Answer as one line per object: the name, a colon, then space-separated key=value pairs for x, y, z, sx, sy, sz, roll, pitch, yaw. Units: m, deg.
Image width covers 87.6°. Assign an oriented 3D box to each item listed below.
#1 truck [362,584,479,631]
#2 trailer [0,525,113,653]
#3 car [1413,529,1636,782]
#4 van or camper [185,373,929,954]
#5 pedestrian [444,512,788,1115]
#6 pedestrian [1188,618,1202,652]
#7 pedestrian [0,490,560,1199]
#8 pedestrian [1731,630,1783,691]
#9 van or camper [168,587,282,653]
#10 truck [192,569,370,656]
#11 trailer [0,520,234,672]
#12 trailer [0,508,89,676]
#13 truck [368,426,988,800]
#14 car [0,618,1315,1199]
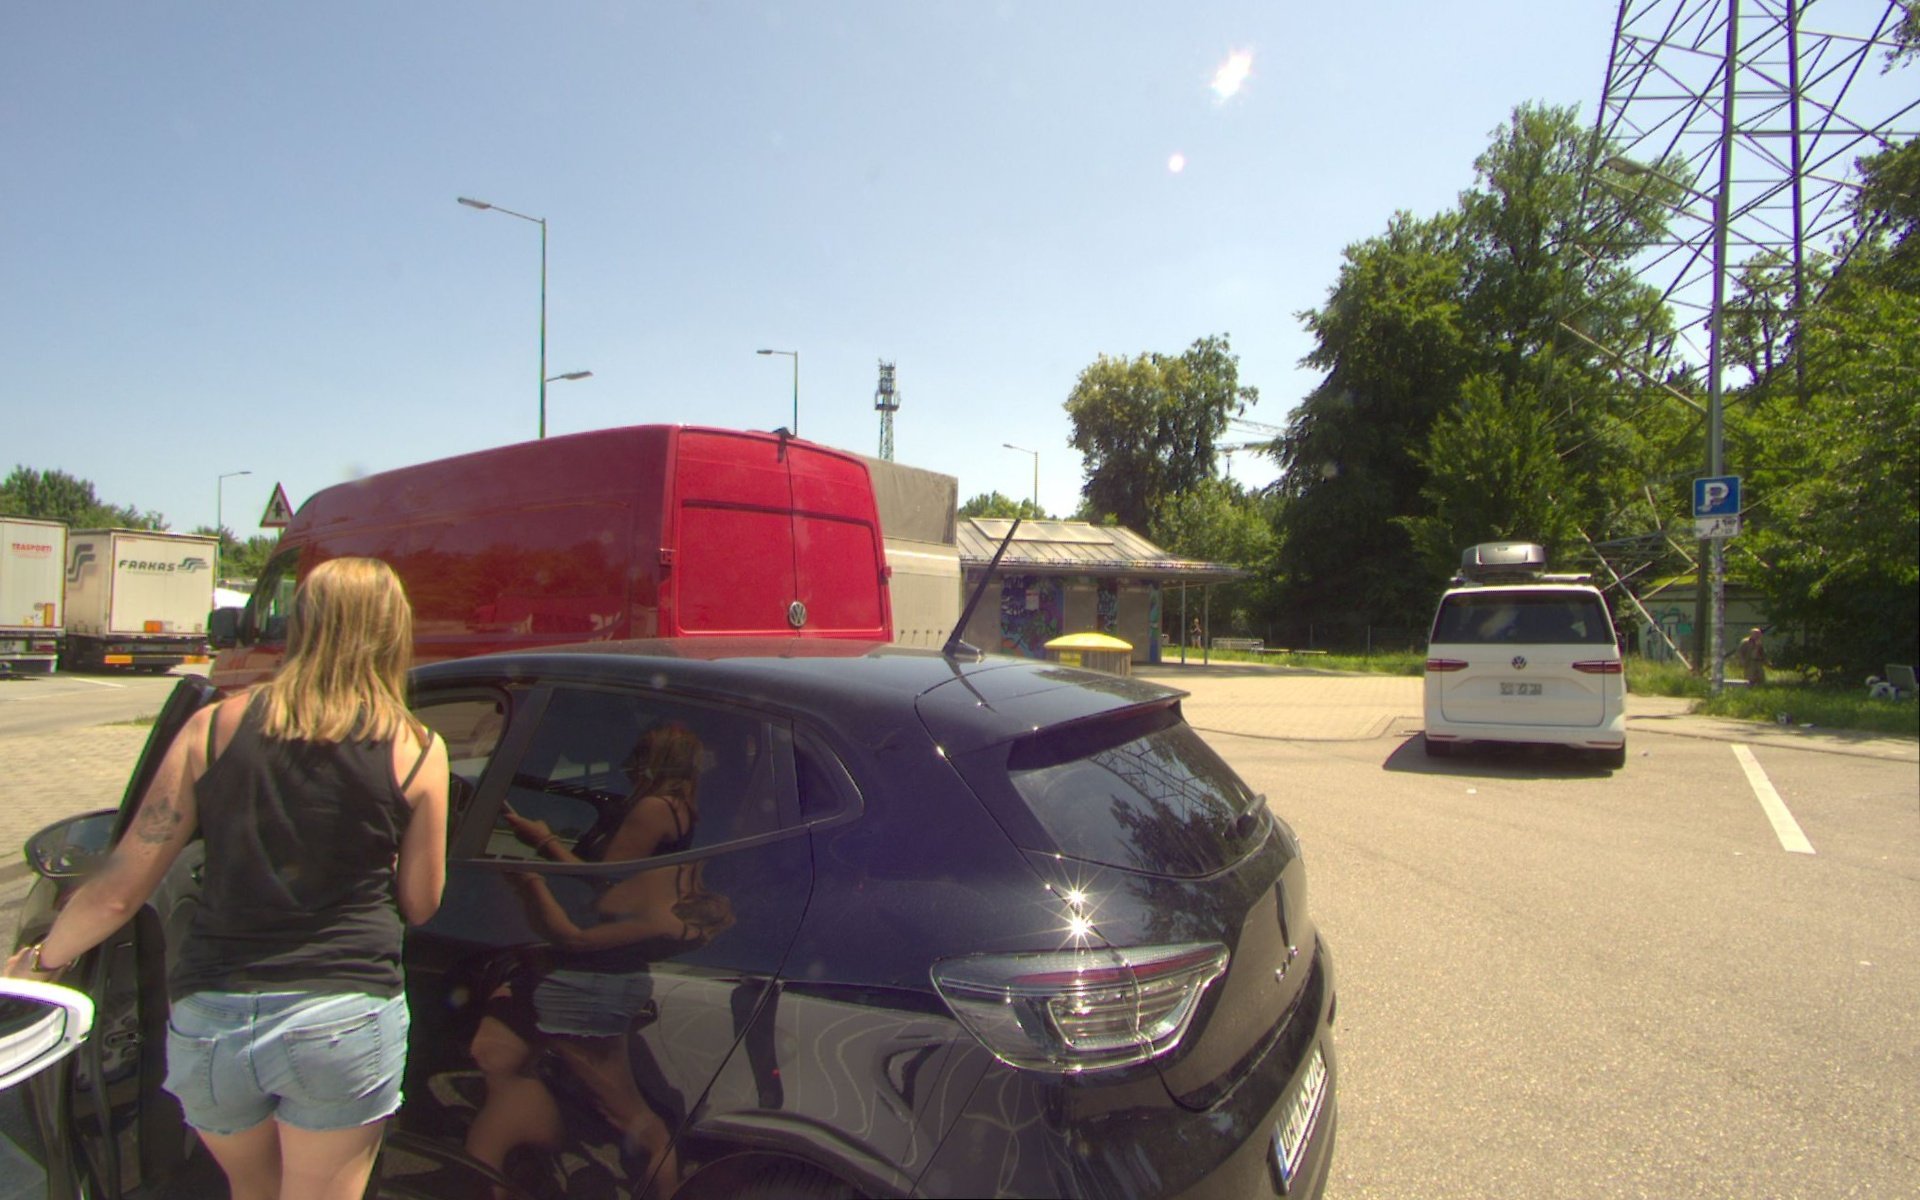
truck: x=-34.720 y=0.451 z=64.270 sx=9.637 sy=2.857 sz=2.121 roll=0 pitch=-1 yaw=33
trailer: x=-32.614 y=-0.366 z=34.880 sx=6.474 sy=4.090 sz=2.862 roll=2 pitch=-1 yaw=33
car: x=6.545 y=0.562 z=11.553 sx=1.892 sy=2.354 sz=4.074 roll=-1 pitch=-1 yaw=32
van or camper: x=-3.360 y=0.319 z=7.346 sx=6.394 sy=2.688 sz=1.990 roll=0 pitch=-1 yaw=36
pedestrian: x=-1.246 y=0.678 z=3.699 sx=0.902 sy=1.896 sz=0.771 roll=1 pitch=0 yaw=26
pedestrian: x=10.751 y=1.603 z=45.832 sx=0.582 sy=1.536 sz=0.588 roll=1 pitch=0 yaw=13
pedestrian: x=-1.130 y=0.664 z=1.683 sx=0.642 sy=1.606 sz=0.649 roll=1 pitch=0 yaw=-2
pedestrian: x=18.480 y=1.391 z=23.228 sx=0.695 sy=1.392 sz=0.608 roll=1 pitch=0 yaw=2
van or camper: x=-30.435 y=0.810 z=41.396 sx=5.296 sy=2.595 sz=2.100 roll=0 pitch=-1 yaw=34
truck: x=-31.689 y=0.495 z=46.468 sx=11.255 sy=3.615 sz=2.484 roll=2 pitch=-1 yaw=33
trailer: x=-27.290 y=-0.208 z=31.456 sx=12.255 sy=4.090 sz=2.862 roll=2 pitch=-1 yaw=33
trailer: x=-28.350 y=-0.337 z=27.791 sx=12.255 sy=4.090 sz=2.862 roll=2 pitch=-1 yaw=33
truck: x=-3.256 y=0.127 z=10.552 sx=6.874 sy=2.828 sz=2.460 roll=0 pitch=-1 yaw=35
car: x=-1.054 y=0.831 z=2.839 sx=3.706 sy=1.503 sz=1.615 roll=0 pitch=-1 yaw=27
